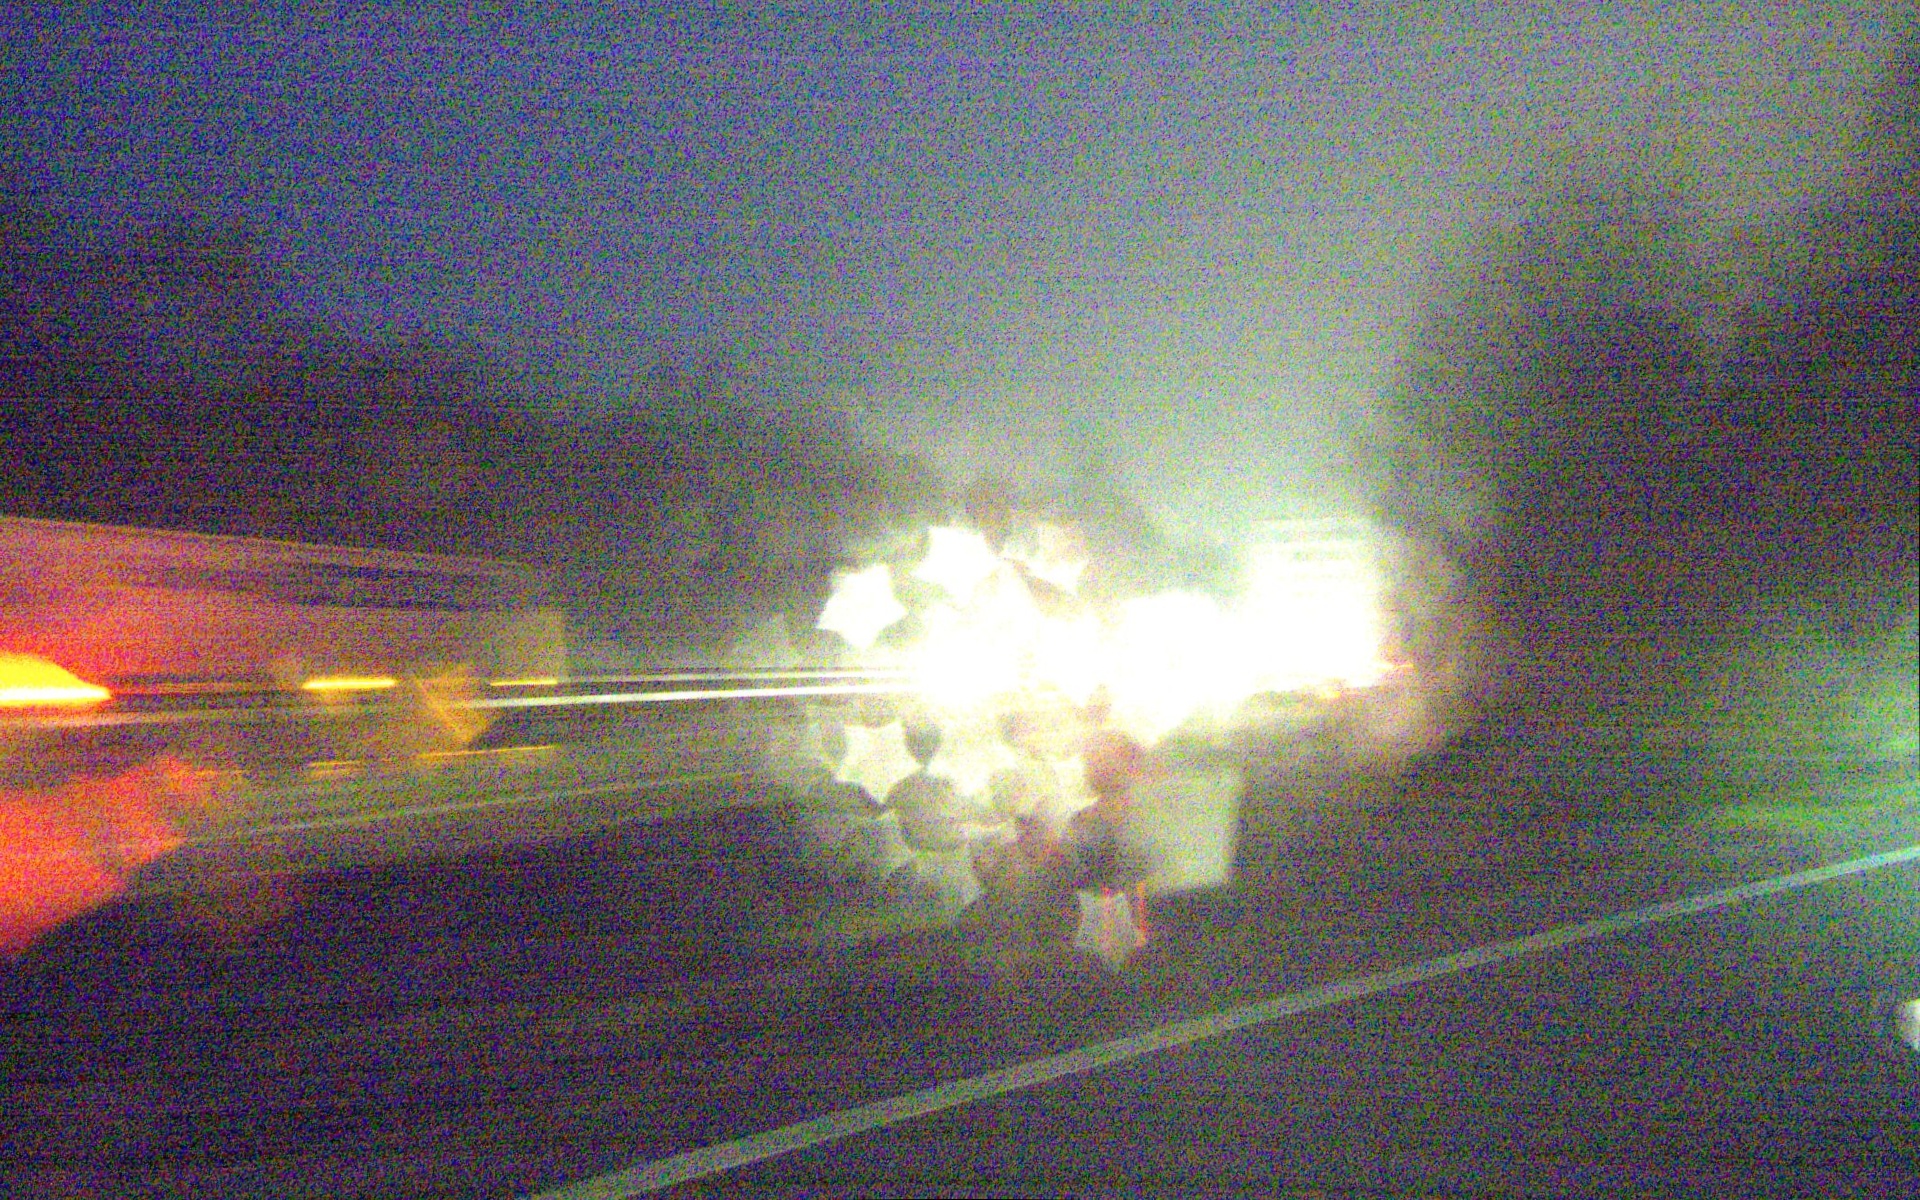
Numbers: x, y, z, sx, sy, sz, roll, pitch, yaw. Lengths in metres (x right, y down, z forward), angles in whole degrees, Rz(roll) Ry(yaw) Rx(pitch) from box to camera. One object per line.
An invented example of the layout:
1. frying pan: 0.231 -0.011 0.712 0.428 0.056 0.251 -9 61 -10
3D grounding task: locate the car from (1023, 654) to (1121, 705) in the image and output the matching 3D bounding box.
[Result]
1. car: 3.753 2.612 33.286 1.628 1.595 3.839 -3 -5 34

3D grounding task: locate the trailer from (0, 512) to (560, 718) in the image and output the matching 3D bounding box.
1. trailer: -16.770 0.577 24.617 3.393 3.928 13.330 -1 -3 33

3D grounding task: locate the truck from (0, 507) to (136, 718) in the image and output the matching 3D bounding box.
1. truck: -20.639 0.216 18.740 3.353 4.025 7.437 -1 -3 34

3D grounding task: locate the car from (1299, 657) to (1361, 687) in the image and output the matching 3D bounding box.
1. car: 18.670 3.646 50.563 1.936 1.398 4.037 -1 -4 35
